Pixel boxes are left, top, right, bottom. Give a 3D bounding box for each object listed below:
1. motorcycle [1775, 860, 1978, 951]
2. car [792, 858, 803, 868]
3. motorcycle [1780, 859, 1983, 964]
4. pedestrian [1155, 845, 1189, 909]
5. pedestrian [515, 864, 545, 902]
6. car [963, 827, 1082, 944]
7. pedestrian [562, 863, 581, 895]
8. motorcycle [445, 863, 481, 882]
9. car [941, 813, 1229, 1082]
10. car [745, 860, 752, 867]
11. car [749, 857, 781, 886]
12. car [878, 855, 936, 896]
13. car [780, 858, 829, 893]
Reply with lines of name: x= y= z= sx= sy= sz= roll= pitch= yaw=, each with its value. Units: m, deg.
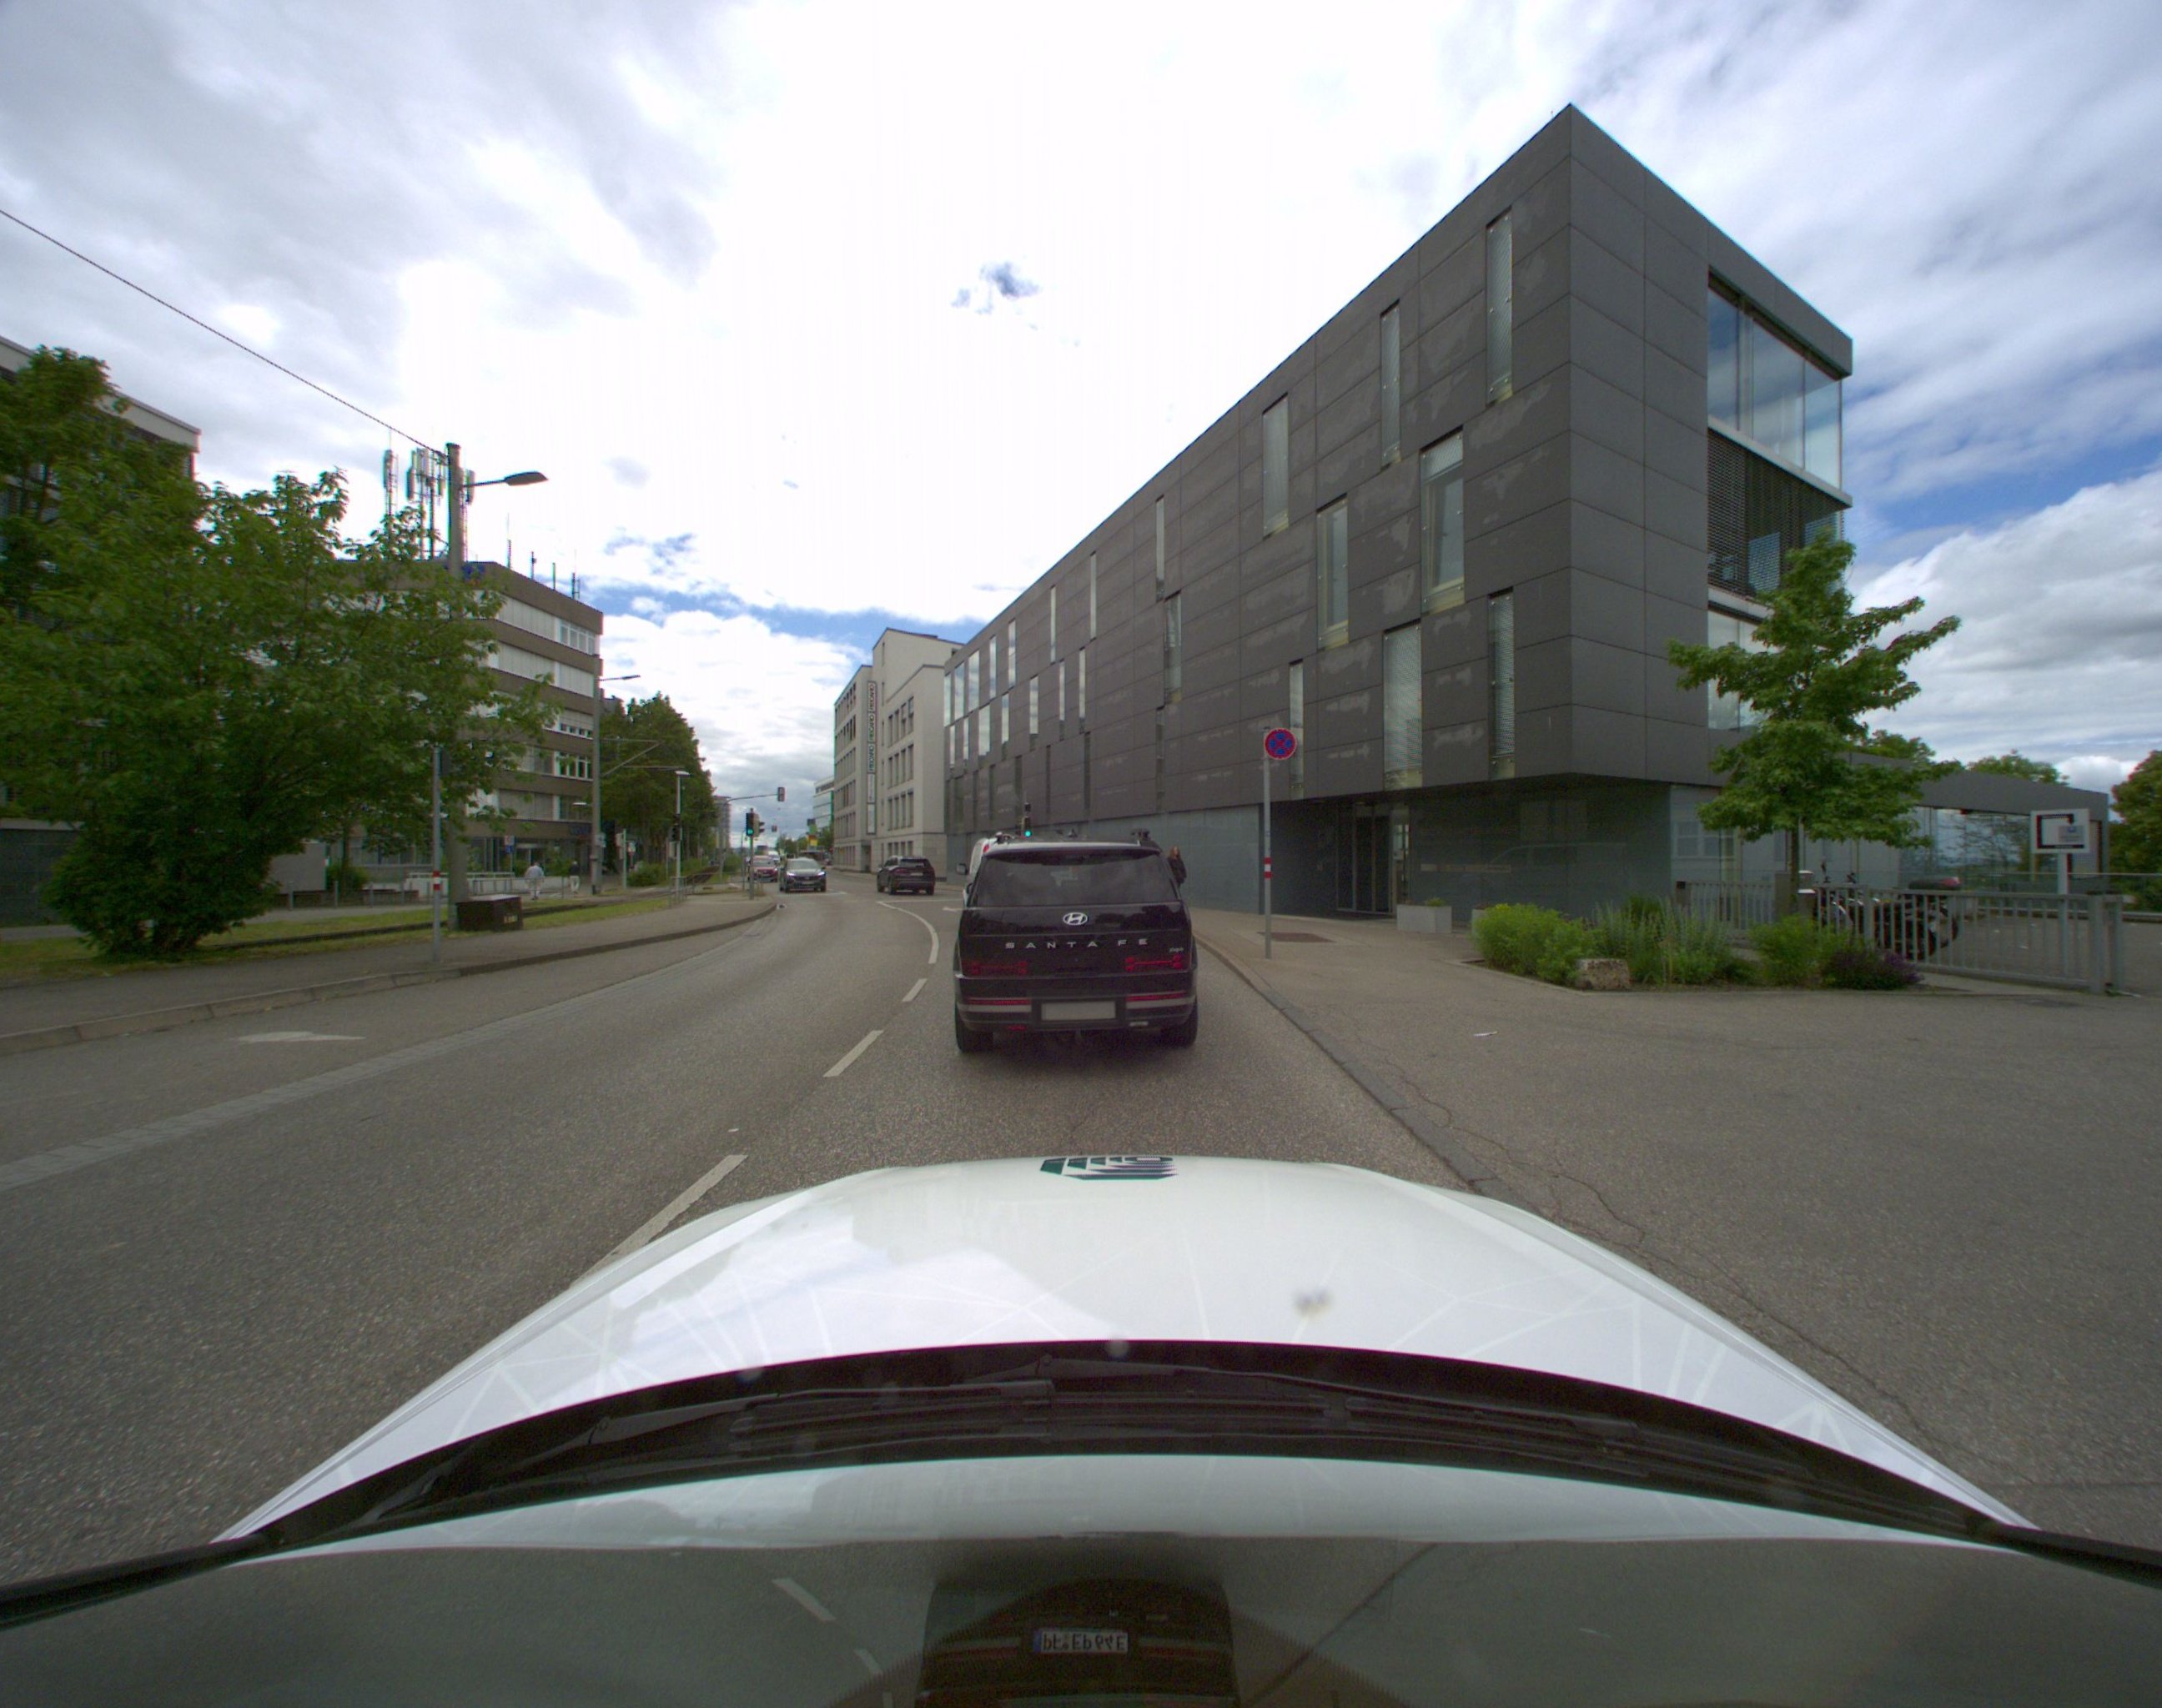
motorcycle: x=13.401 y=0.811 z=13.854 sx=0.669 sy=1.393 sz=2.449 roll=0 pitch=0 yaw=-17
car: x=-47.804 y=1.534 z=137.352 sx=1.765 sy=1.609 sz=4.159 roll=0 pitch=0 yaw=-20
motorcycle: x=11.930 y=0.791 z=12.253 sx=0.669 sy=1.393 sz=2.112 roll=0 pitch=1 yaw=-17
pedestrian: x=2.452 y=0.608 z=21.957 sx=0.859 sy=1.694 sz=0.714 roll=1 pitch=-1 yaw=2
pedestrian: x=-22.885 y=1.191 z=33.830 sx=0.852 sy=1.526 sz=0.988 roll=-2 pitch=0 yaw=-25
car: x=-1.317 y=0.538 z=16.221 sx=1.932 sy=1.994 sz=4.519 roll=0 pitch=0 yaw=-10
pedestrian: x=-27.609 y=1.348 z=44.127 sx=0.690 sy=1.705 sz=0.678 roll=-2 pitch=0 yaw=-21
motorcycle: x=-40.525 y=1.205 z=53.386 sx=1.874 sy=1.199 sz=0.568 roll=-1 pitch=0 yaw=-2
car: x=-0.115 y=0.619 z=7.659 sx=1.905 sy=1.749 sz=4.390 roll=-1 pitch=0 yaw=-4
car: x=-88.095 y=2.491 z=215.805 sx=1.673 sy=1.882 sz=3.970 roll=0 pitch=0 yaw=-22
car: x=-21.281 y=1.158 z=54.819 sx=1.689 sy=1.808 sz=4.316 roll=-2 pitch=0 yaw=-25
car: x=-7.507 y=0.863 z=34.861 sx=1.766 sy=1.609 sz=4.157 roll=0 pitch=0 yaw=-22
car: x=-12.907 y=0.978 z=37.852 sx=1.776 sy=1.479 sz=3.968 roll=-2 pitch=0 yaw=-24
